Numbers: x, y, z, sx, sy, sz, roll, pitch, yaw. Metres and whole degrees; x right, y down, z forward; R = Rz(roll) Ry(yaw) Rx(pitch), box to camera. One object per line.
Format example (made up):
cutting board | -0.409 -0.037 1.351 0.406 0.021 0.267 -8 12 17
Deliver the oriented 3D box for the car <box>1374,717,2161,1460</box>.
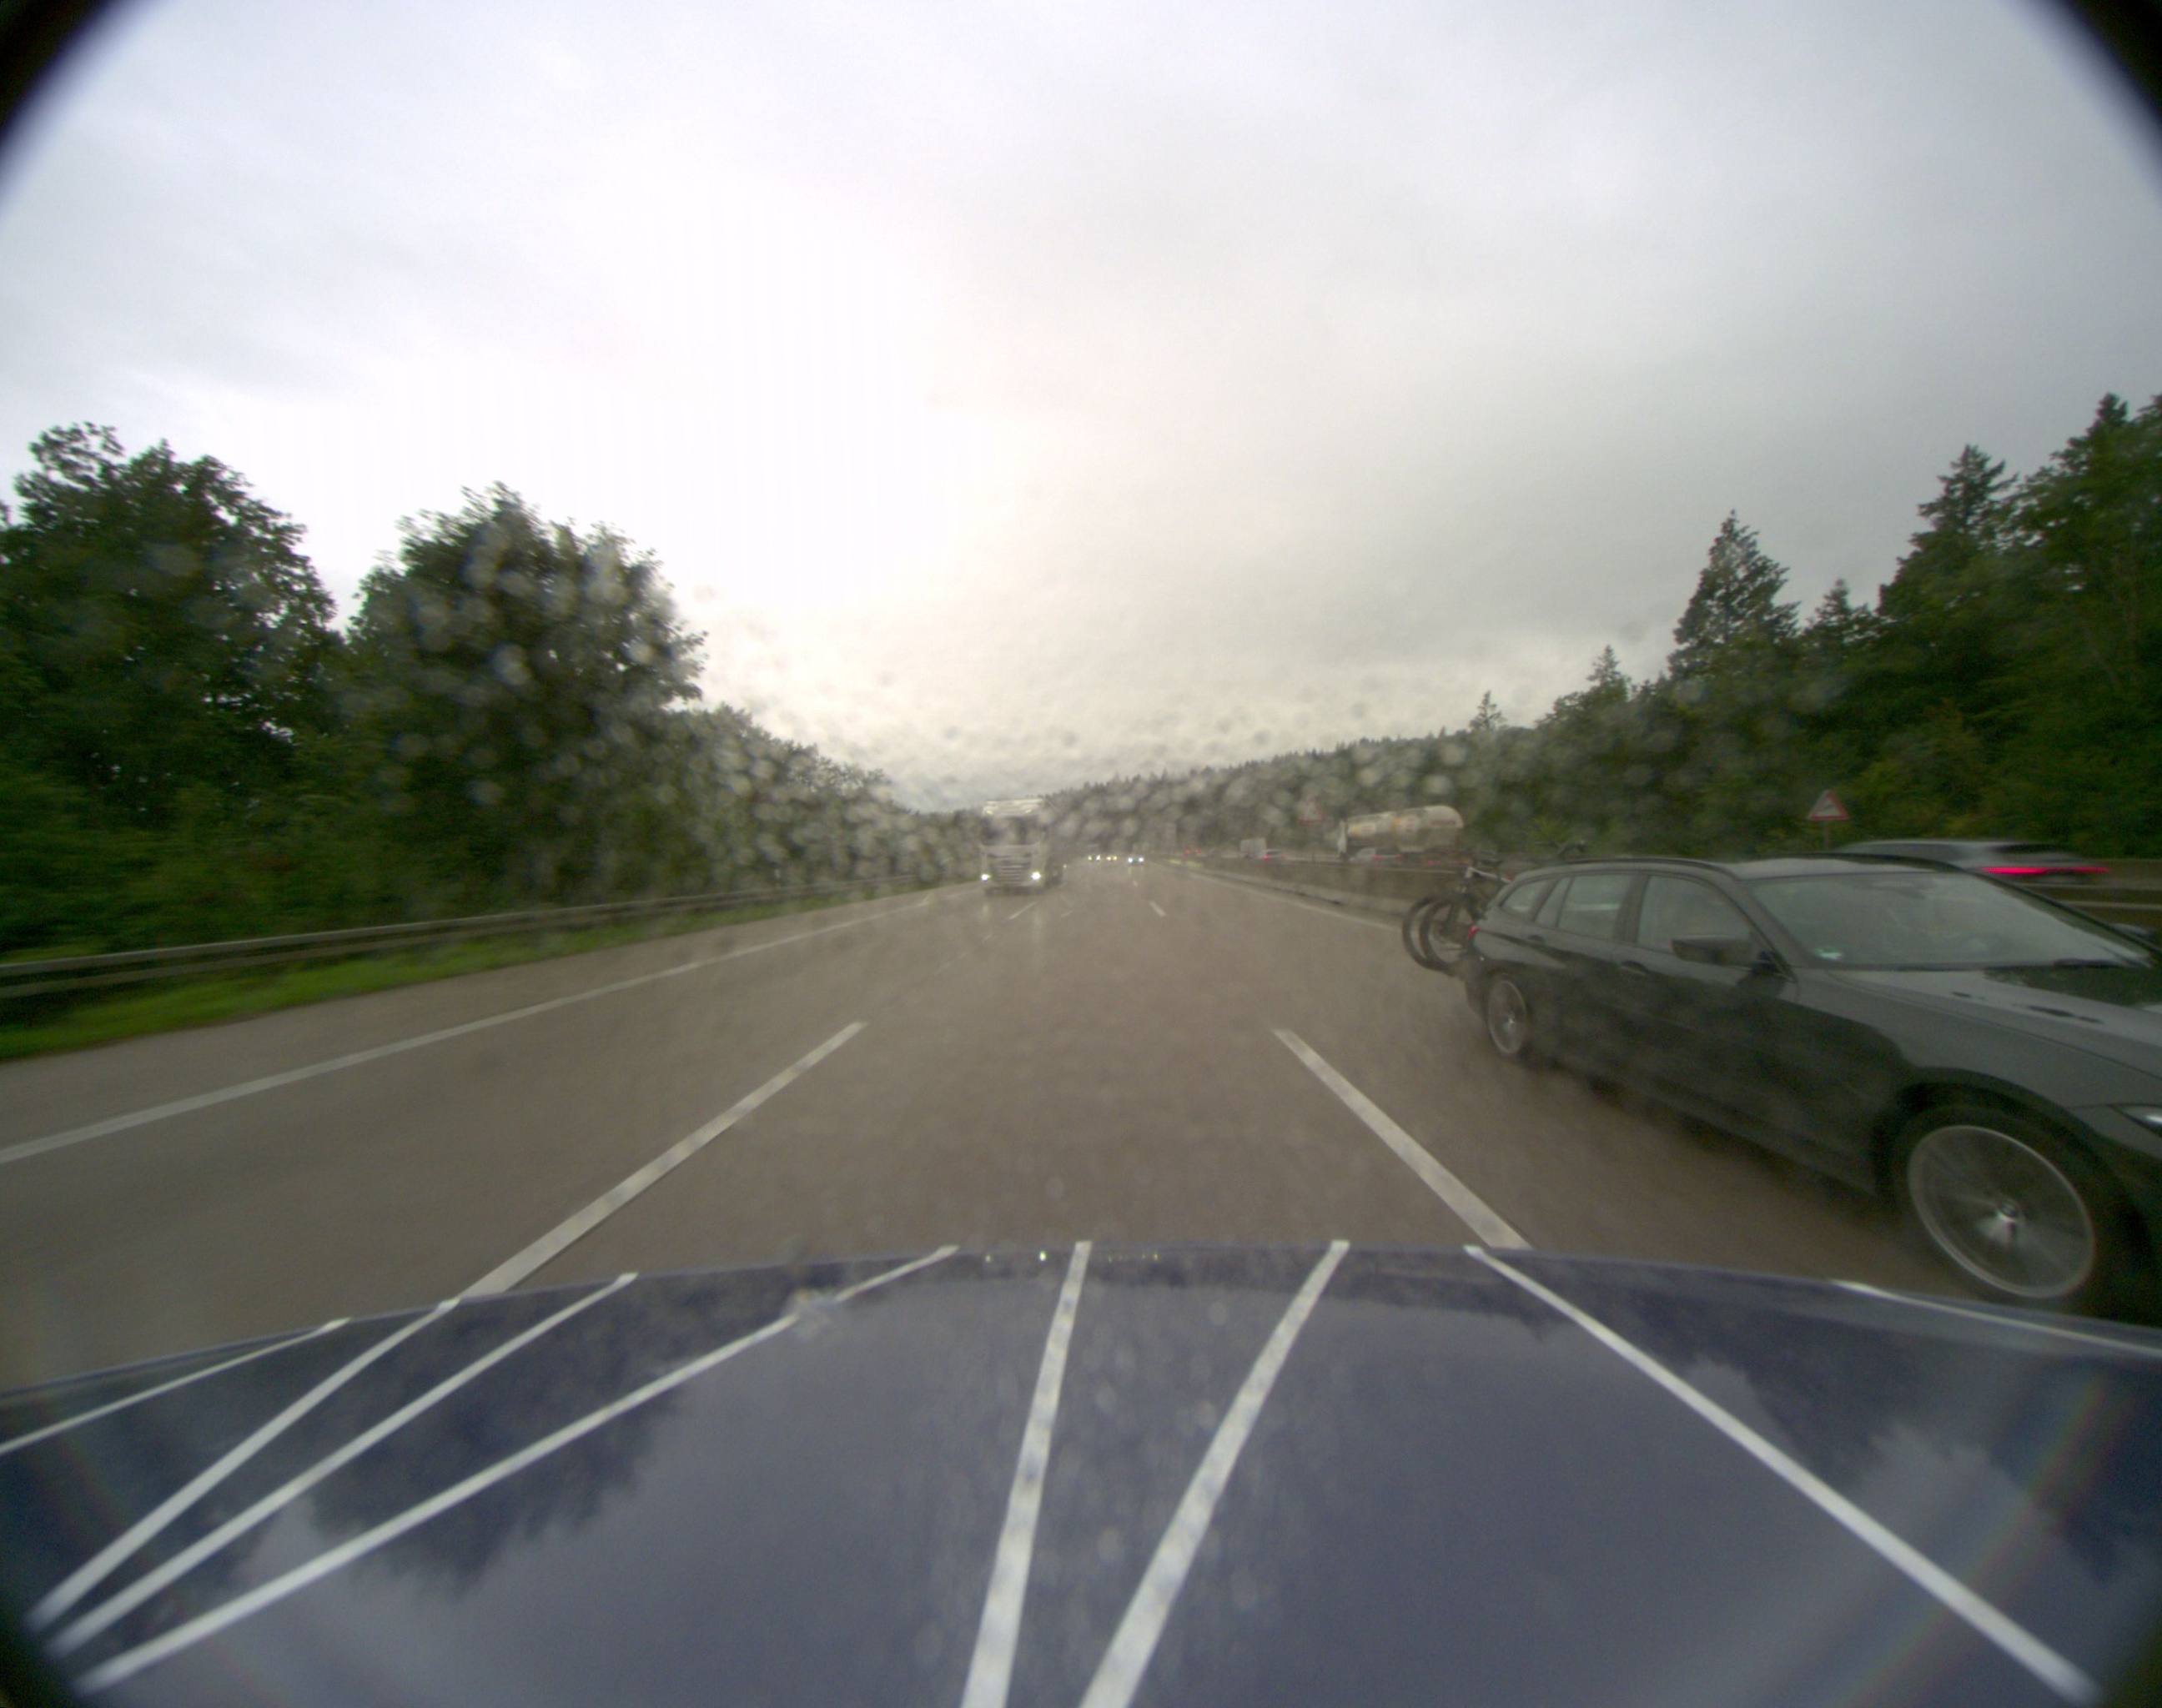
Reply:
car | 3.760 0.574 4.163 1.912 1.933 6.162 -2 0 0

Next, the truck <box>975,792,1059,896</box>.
truck | -2.608 -0.410 32.780 2.727 4.018 5.753 -2 1 3

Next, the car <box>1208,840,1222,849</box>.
car | 25.038 -1.761 141.898 1.998 1.689 4.975 -2 1 3

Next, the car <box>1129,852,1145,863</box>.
car | 7.009 0.440 95.645 1.716 1.399 4.935 -2 0 0

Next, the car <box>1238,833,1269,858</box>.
car | 18.405 -0.897 81.376 1.998 2.435 6.746 -2 0 2

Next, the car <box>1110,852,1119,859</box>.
car | 7.126 0.235 161.079 1.716 1.399 4.935 -2 0 0

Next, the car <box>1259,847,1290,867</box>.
car | 14.316 0.169 56.450 1.662 1.364 4.761 -2 0 8

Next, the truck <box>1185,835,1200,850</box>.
truck | 26.630 -2.698 181.316 2.438 3.156 10.663 -3 0 3

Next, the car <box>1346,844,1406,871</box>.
car | 16.641 0.163 43.105 1.663 1.364 4.721 -2 0 2

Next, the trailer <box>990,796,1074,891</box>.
trailer | -2.179 -0.507 39.831 2.685 4.017 13.706 -2 0 3

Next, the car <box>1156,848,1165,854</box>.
car | 20.211 -0.877 193.672 1.998 1.382 4.752 -3 0 3

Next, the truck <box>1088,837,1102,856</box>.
truck | 3.239 -1.617 176.374 2.738 4.127 8.621 -2 0 -1

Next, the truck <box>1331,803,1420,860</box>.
truck | 20.884 -1.497 54.697 2.570 3.646 10.492 -2 0 2

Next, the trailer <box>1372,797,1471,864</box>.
trailer | 20.594 -1.329 46.500 2.552 3.646 8.230 -2 0 2

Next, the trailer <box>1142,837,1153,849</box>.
trailer | 23.569 -3.820 269.567 2.953 4.009 13.788 -3 0 2

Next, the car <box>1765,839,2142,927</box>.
car | 15.775 0.440 14.224 1.806 1.326 4.564 -2 0 0

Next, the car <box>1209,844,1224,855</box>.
car | 20.255 -0.747 113.749 1.612 1.545 4.643 -2 0 3
